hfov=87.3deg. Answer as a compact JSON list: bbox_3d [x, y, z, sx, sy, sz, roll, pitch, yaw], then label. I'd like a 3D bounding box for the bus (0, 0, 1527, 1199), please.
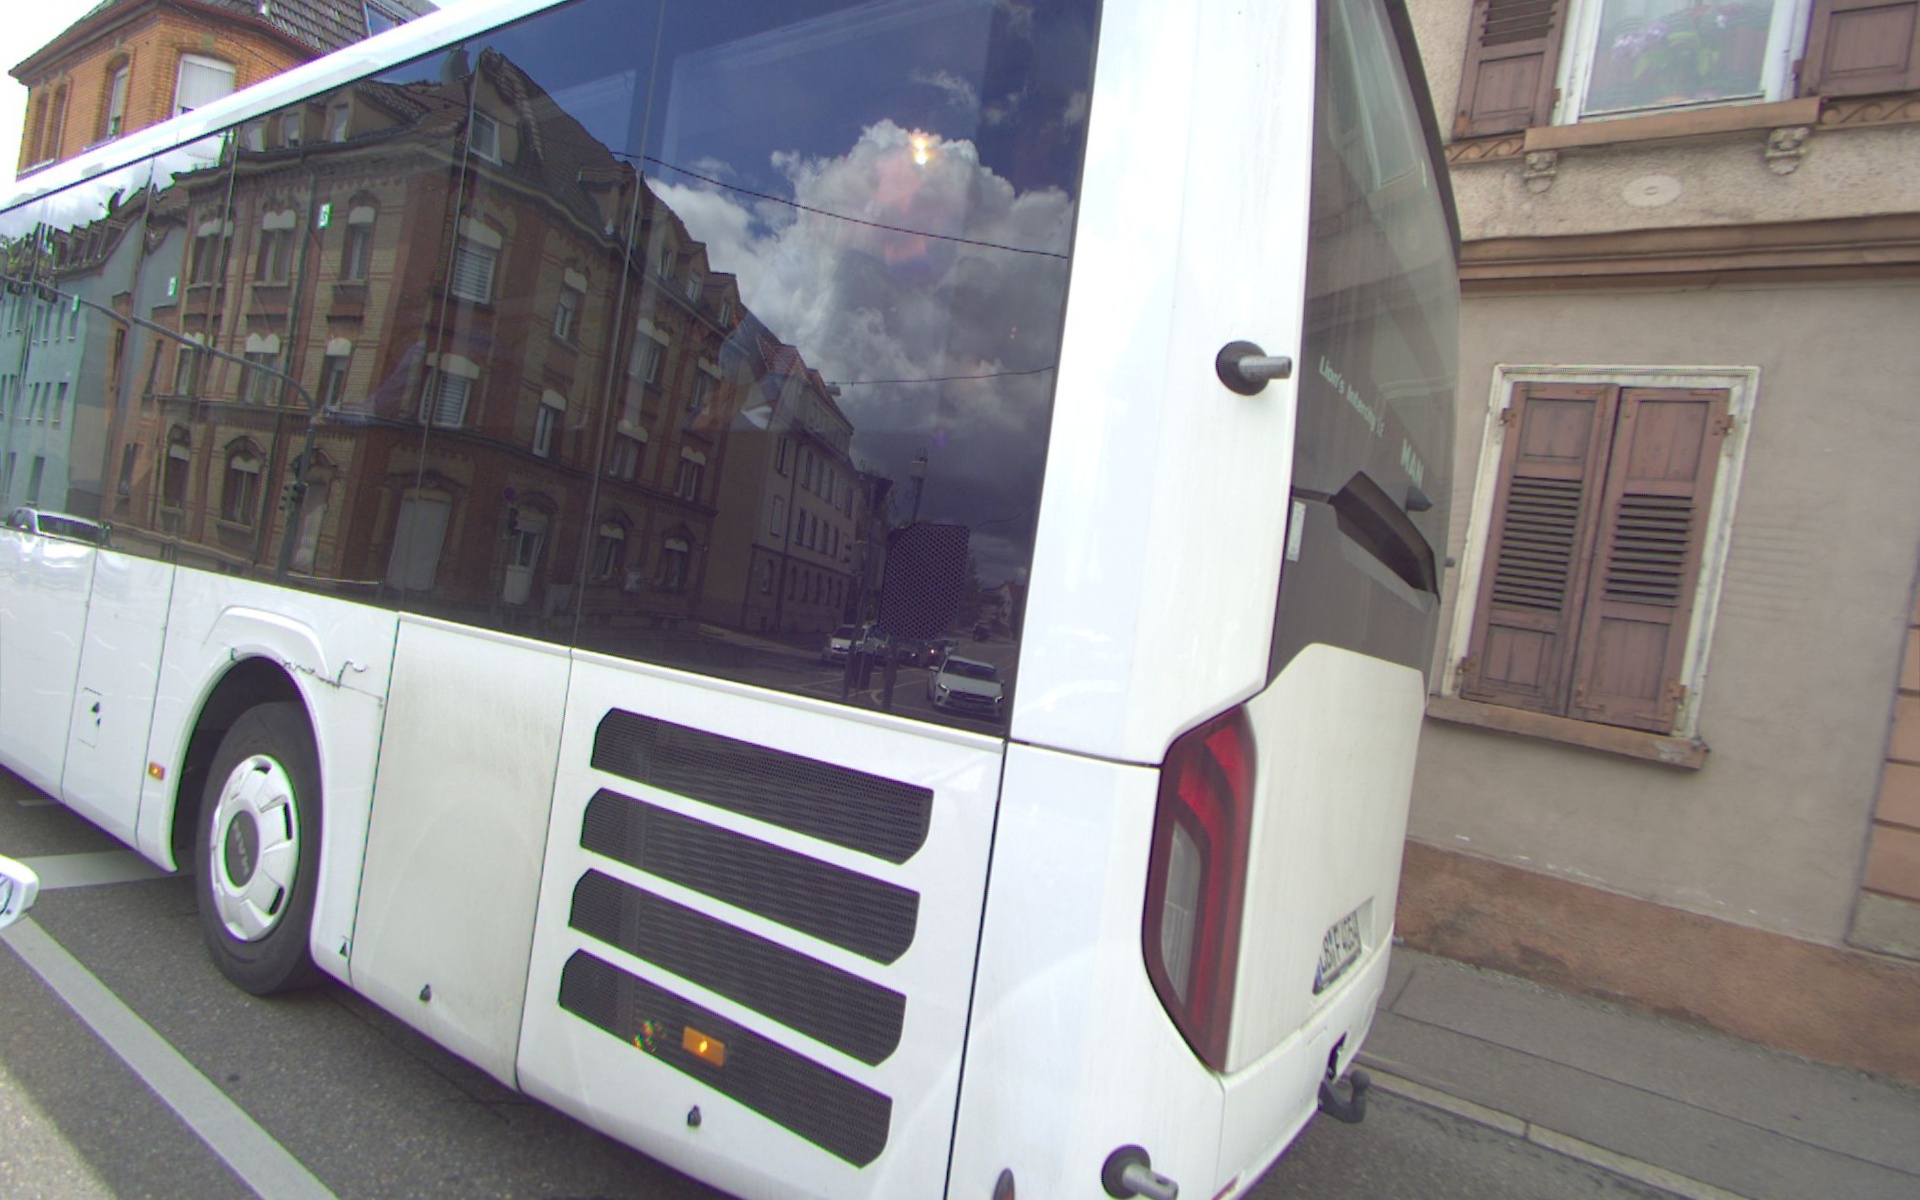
[{"bbox_3d":[-3.954,-0.639,5.960,12.289,3.551,2.908,6,-2,34],"label":"bus"}]
